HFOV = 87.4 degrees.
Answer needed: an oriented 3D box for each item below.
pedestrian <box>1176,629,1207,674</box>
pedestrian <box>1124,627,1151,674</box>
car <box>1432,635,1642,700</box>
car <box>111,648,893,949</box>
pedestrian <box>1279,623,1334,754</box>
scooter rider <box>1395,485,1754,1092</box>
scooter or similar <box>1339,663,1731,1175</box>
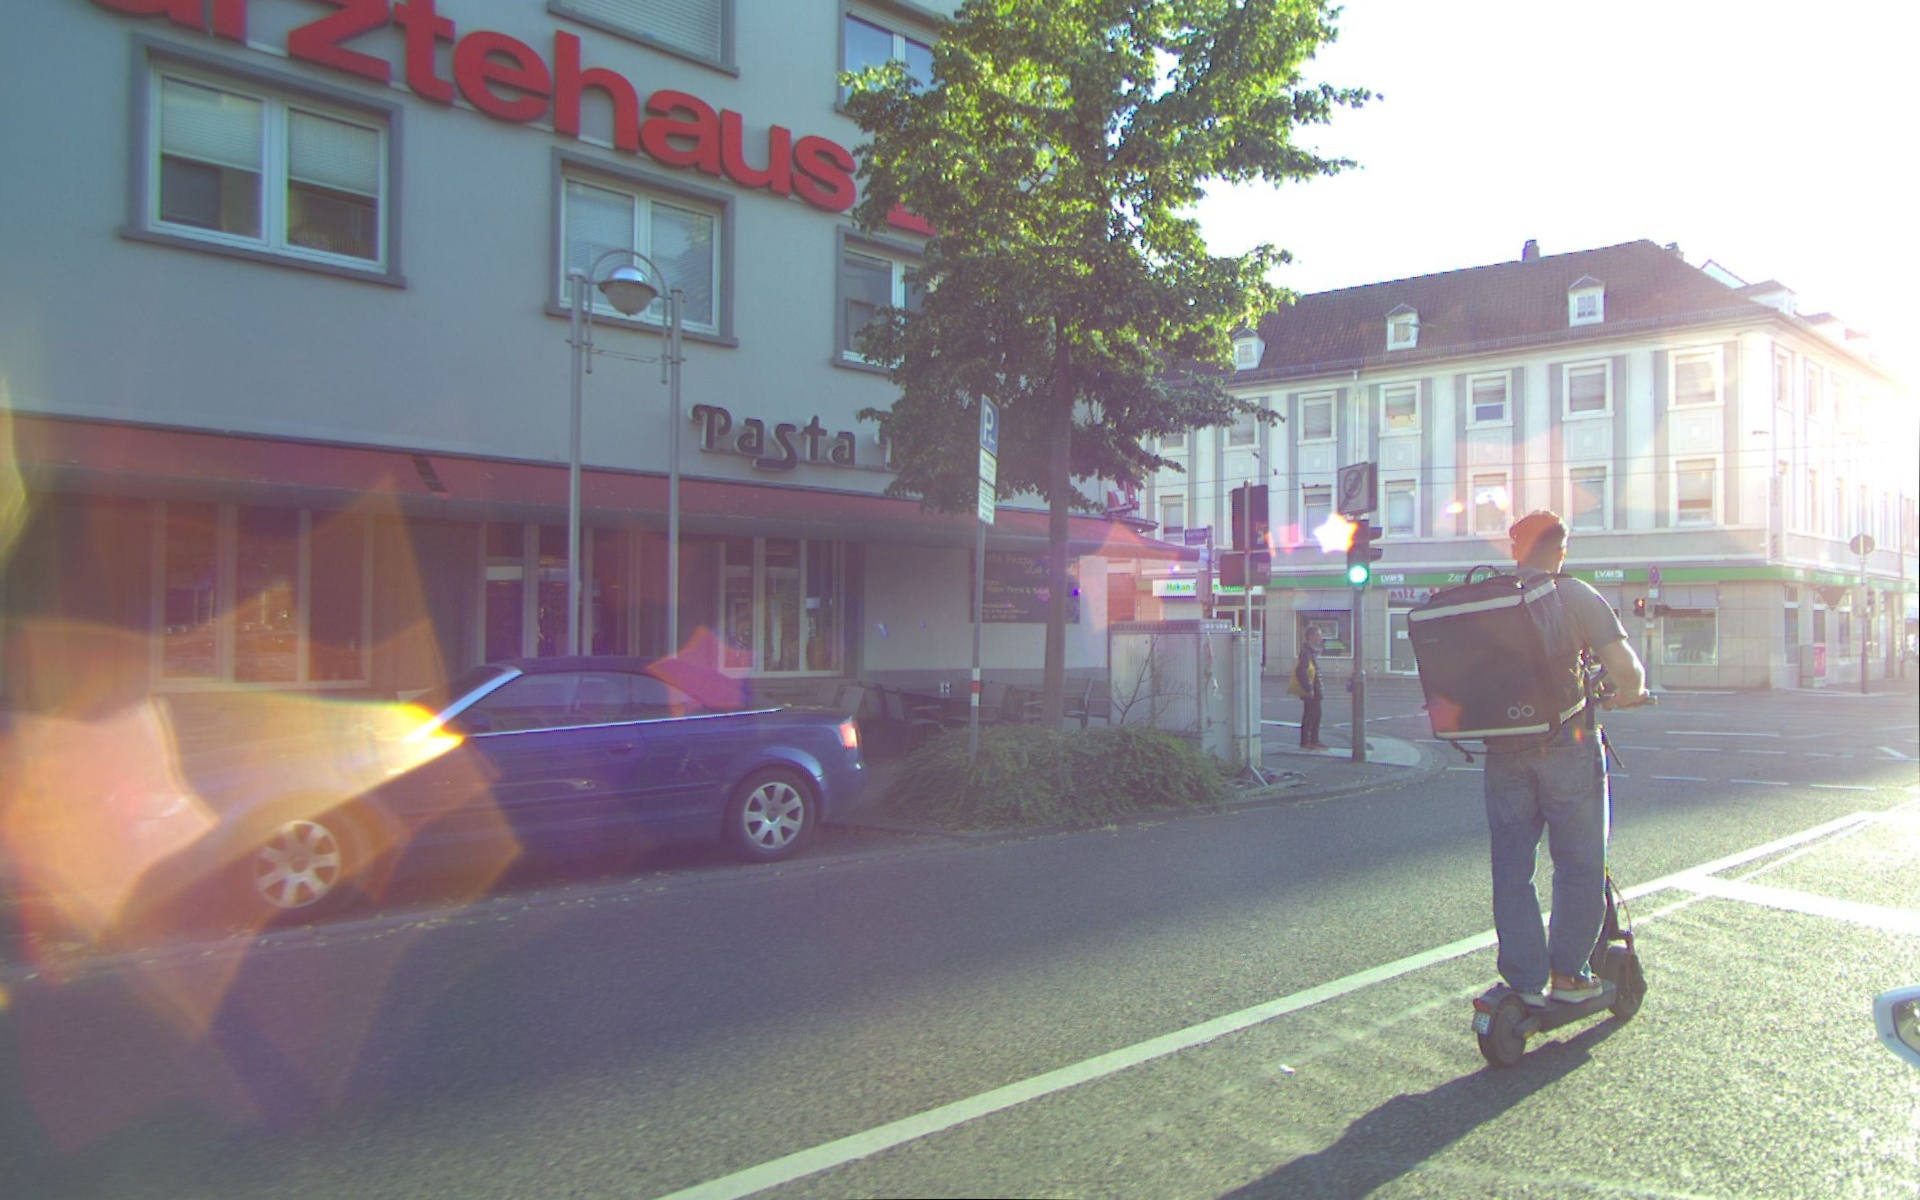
[{"bbox_3d":[8.895,1.962,38.586,0.822,1.662,0.803,0,-1,-43],"label":"pedestrian"},{"bbox_3d":[6.835,1.944,38.663,0.799,1.751,0.826,0,0,31],"label":"pedestrian"},{"bbox_3d":[14.731,1.687,25.945,1.870,1.499,4.517,2,-3,-24],"label":"car"},{"bbox_3d":[-2.682,1.019,6.618,4.269,1.371,1.638,2,-2,-35],"label":"car"},{"bbox_3d":[4.622,1.145,13.363,0.576,1.678,0.799,0,-1,28],"label":"pedestrian"},{"bbox_3d":[2.175,0.578,3.588,0.780,1.831,0.806,2,0,-35],"label":"scooter rider"},{"bbox_3d":[2.053,0.929,3.496,1.652,1.368,0.541,1,-1,-35],"label":"scooter or similar"}]
